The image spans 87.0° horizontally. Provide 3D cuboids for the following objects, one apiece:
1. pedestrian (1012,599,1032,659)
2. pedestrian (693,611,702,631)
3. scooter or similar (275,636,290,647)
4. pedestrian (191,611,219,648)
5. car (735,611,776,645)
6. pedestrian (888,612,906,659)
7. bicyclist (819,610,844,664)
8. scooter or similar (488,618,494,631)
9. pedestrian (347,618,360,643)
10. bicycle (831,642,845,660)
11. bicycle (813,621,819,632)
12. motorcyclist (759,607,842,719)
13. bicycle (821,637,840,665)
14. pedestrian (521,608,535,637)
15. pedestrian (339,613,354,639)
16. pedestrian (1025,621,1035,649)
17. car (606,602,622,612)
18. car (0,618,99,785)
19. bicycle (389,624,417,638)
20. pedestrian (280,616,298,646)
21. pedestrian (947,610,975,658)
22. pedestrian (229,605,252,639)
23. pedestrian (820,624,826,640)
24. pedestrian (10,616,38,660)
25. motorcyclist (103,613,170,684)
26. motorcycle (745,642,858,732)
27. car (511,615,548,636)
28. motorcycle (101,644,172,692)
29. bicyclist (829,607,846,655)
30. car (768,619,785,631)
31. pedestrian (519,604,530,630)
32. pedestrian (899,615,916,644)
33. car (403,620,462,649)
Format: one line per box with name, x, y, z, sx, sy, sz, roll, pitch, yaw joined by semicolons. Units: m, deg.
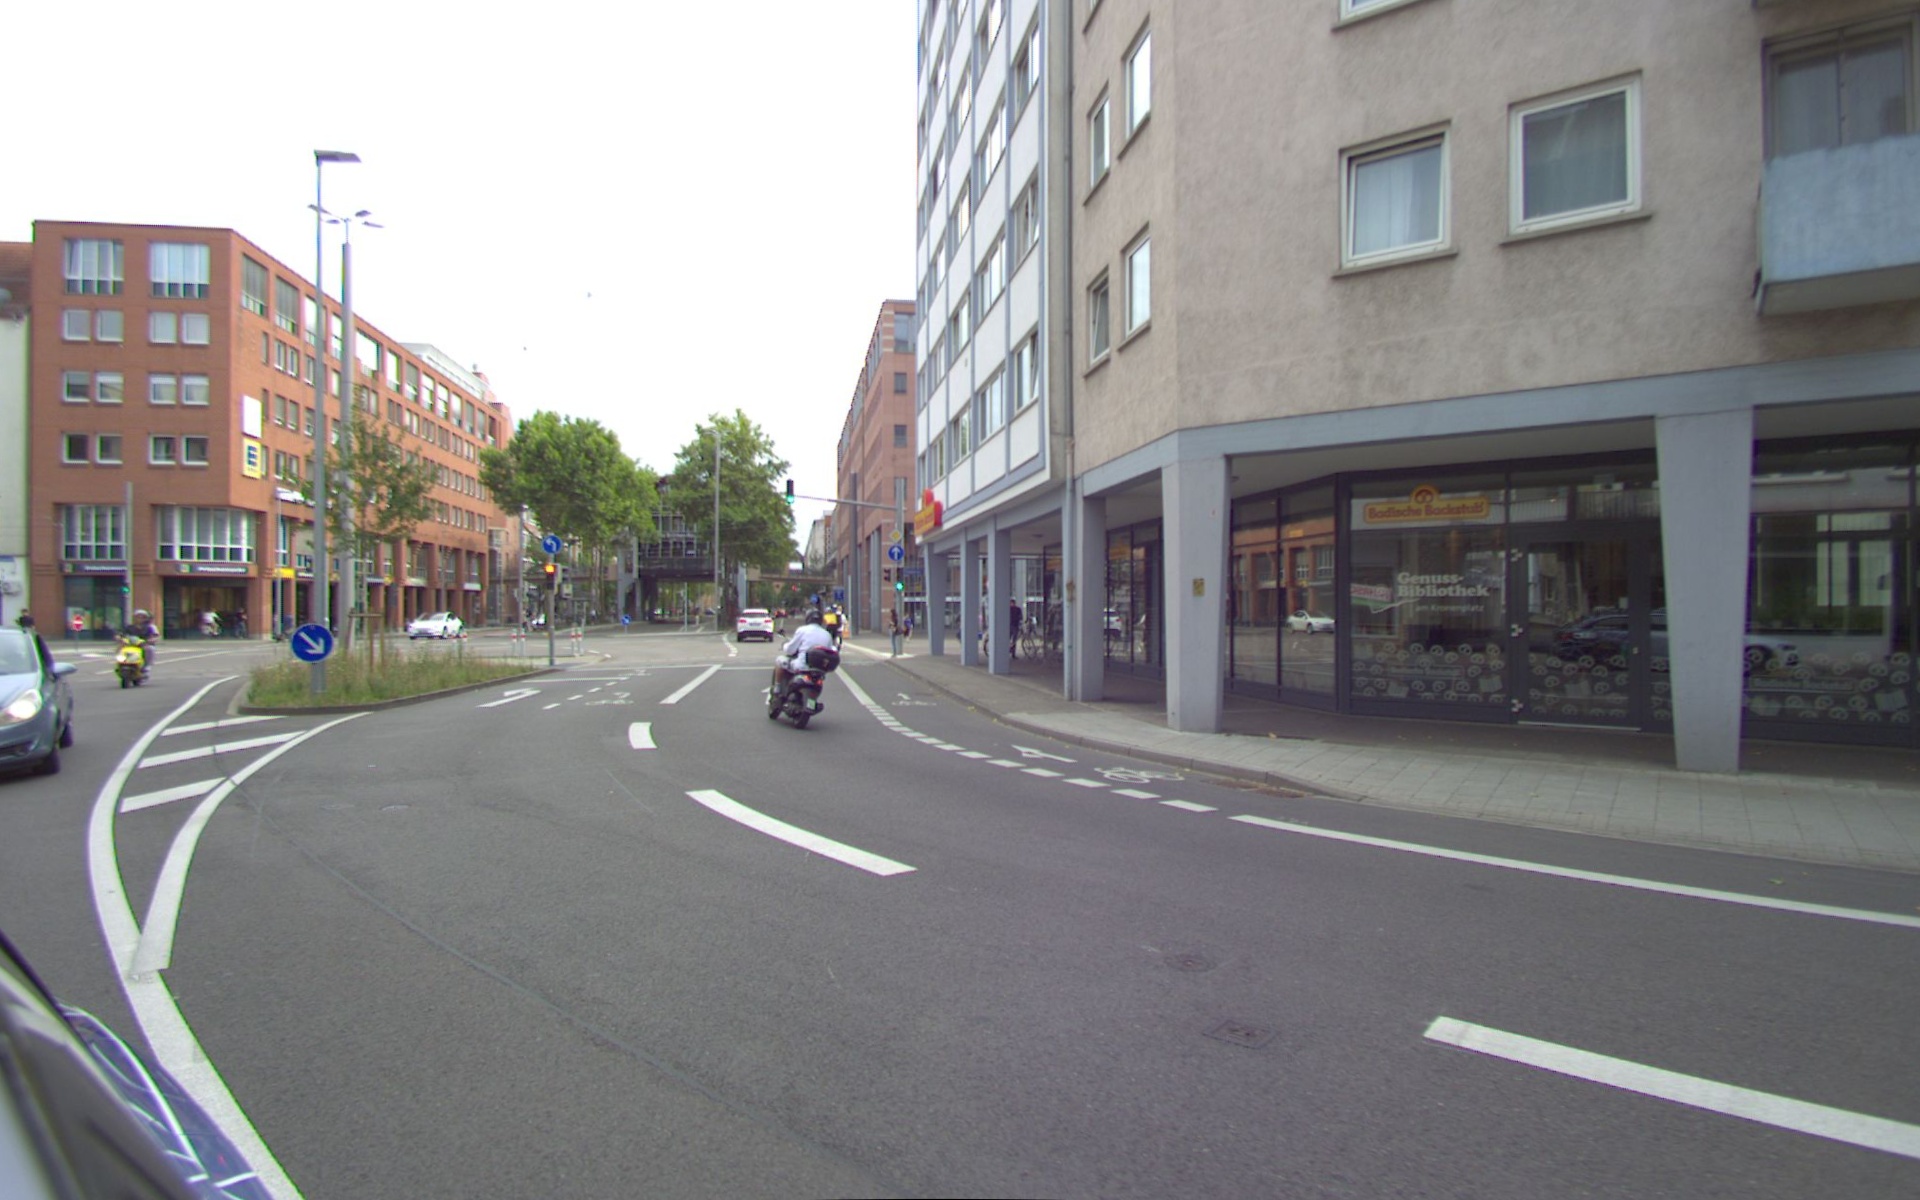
pedestrian;1.876;0.869;30.618;0.470;1.778;0.590;0;-2;-10
pedestrian;-21.268;1.701;81.948;0.647;1.549;0.560;0;1;-13
scooter or similar;-38.394;2.334;57.344;0.500;0.578;0.818;0;-1;-17
pedestrian;-42.848;1.689;57.424;1.044;2.029;0.986;-3;0;39
car;-10.593;1.425;52.686;1.809;1.672;4.331;0;-1;-7
pedestrian;-2.118;1.196;33.978;0.491;1.571;0.519;0;-1;-16
bicyclist;-4.060;1.146;31.922;0.702;1.662;0.973;0;-1;-11
scooter or similar;-47.937;2.522;103.456;0.268;1.267;0.923;0;-1;-9
pedestrian;-41.020;2.075;68.439;0.401;1.644;0.732;1;-1;-2
bicycle;-4.326;1.806;35.943;0.477;0.593;2.001;0;-1;-7
bicycle;-14.477;2.655;101.707;0.539;1.126;1.593;0;-1;-9
motorcyclist;-2.191;0.851;13.901;0.785;1.471;0.867;3;-2;-35
bicycle;-4.096;1.605;32.015;0.403;0.801;2.003;0;-1;-13
pedestrian;-29.094;1.516;68.217;0.682;1.889;0.808;0;-1;-9
pedestrian;-40.368;1.707;66.572;0.637;1.709;0.699;1;-1;-12
pedestrian;4.096;2.035;59.117;0.499;1.589;0.522;0;-1;-7
car;-58.236;1.164;170.362;1.927;1.613;4.008;0;-1;-9
car;-10.018;0.943;10.175;1.696;1.413;4.010;-3;1;-36
bicycle;-44.381;2.467;80.641;1.831;1.048;0.508;0;-1;-9
pedestrian;-38.561;1.758;58.155;0.630;1.700;0.601;0;-1;-9
pedestrian;0.039;1.161;34.884;0.687;1.606;0.652;-1;-1;38
pedestrian;-43.269;1.307;60.846;0.802;2.029;0.799;-2;0;-12
pedestrian;-13.717;3.197;101.447;0.521;1.585;0.602;0;-1;-9
pedestrian;-39.889;1.610;43.129;0.560;1.838;0.697;0;-2;-10
motorcyclist;-18.442;1.067;22.698;0.857;1.528;1.047;0;-1;-19
motorcycle;-2.216;1.156;13.919;0.712;1.103;2.041;3;-2;-34
car;-35.690;2.093;83.900;1.927;1.613;4.008;0;-1;-9
motorcycle;-18.445;1.499;22.712;0.561;0.975;2.020;0;-1;-19
bicyclist;-4.361;1.092;36.079;0.600;1.658;1.039;0;-1;-7
car;-30.825;4.117;169.902;2.467;1.962;5.107;0;-1;-15
pedestrian;-30.296;1.159;70.390;0.530;1.805;0.575;-1;-1;11
pedestrian;-2.729;1.503;52.430;0.786;1.484;0.686;0;-1;-9
car;-31.504;2.015;60.564;1.927;1.613;4.008;0;-1;-9
